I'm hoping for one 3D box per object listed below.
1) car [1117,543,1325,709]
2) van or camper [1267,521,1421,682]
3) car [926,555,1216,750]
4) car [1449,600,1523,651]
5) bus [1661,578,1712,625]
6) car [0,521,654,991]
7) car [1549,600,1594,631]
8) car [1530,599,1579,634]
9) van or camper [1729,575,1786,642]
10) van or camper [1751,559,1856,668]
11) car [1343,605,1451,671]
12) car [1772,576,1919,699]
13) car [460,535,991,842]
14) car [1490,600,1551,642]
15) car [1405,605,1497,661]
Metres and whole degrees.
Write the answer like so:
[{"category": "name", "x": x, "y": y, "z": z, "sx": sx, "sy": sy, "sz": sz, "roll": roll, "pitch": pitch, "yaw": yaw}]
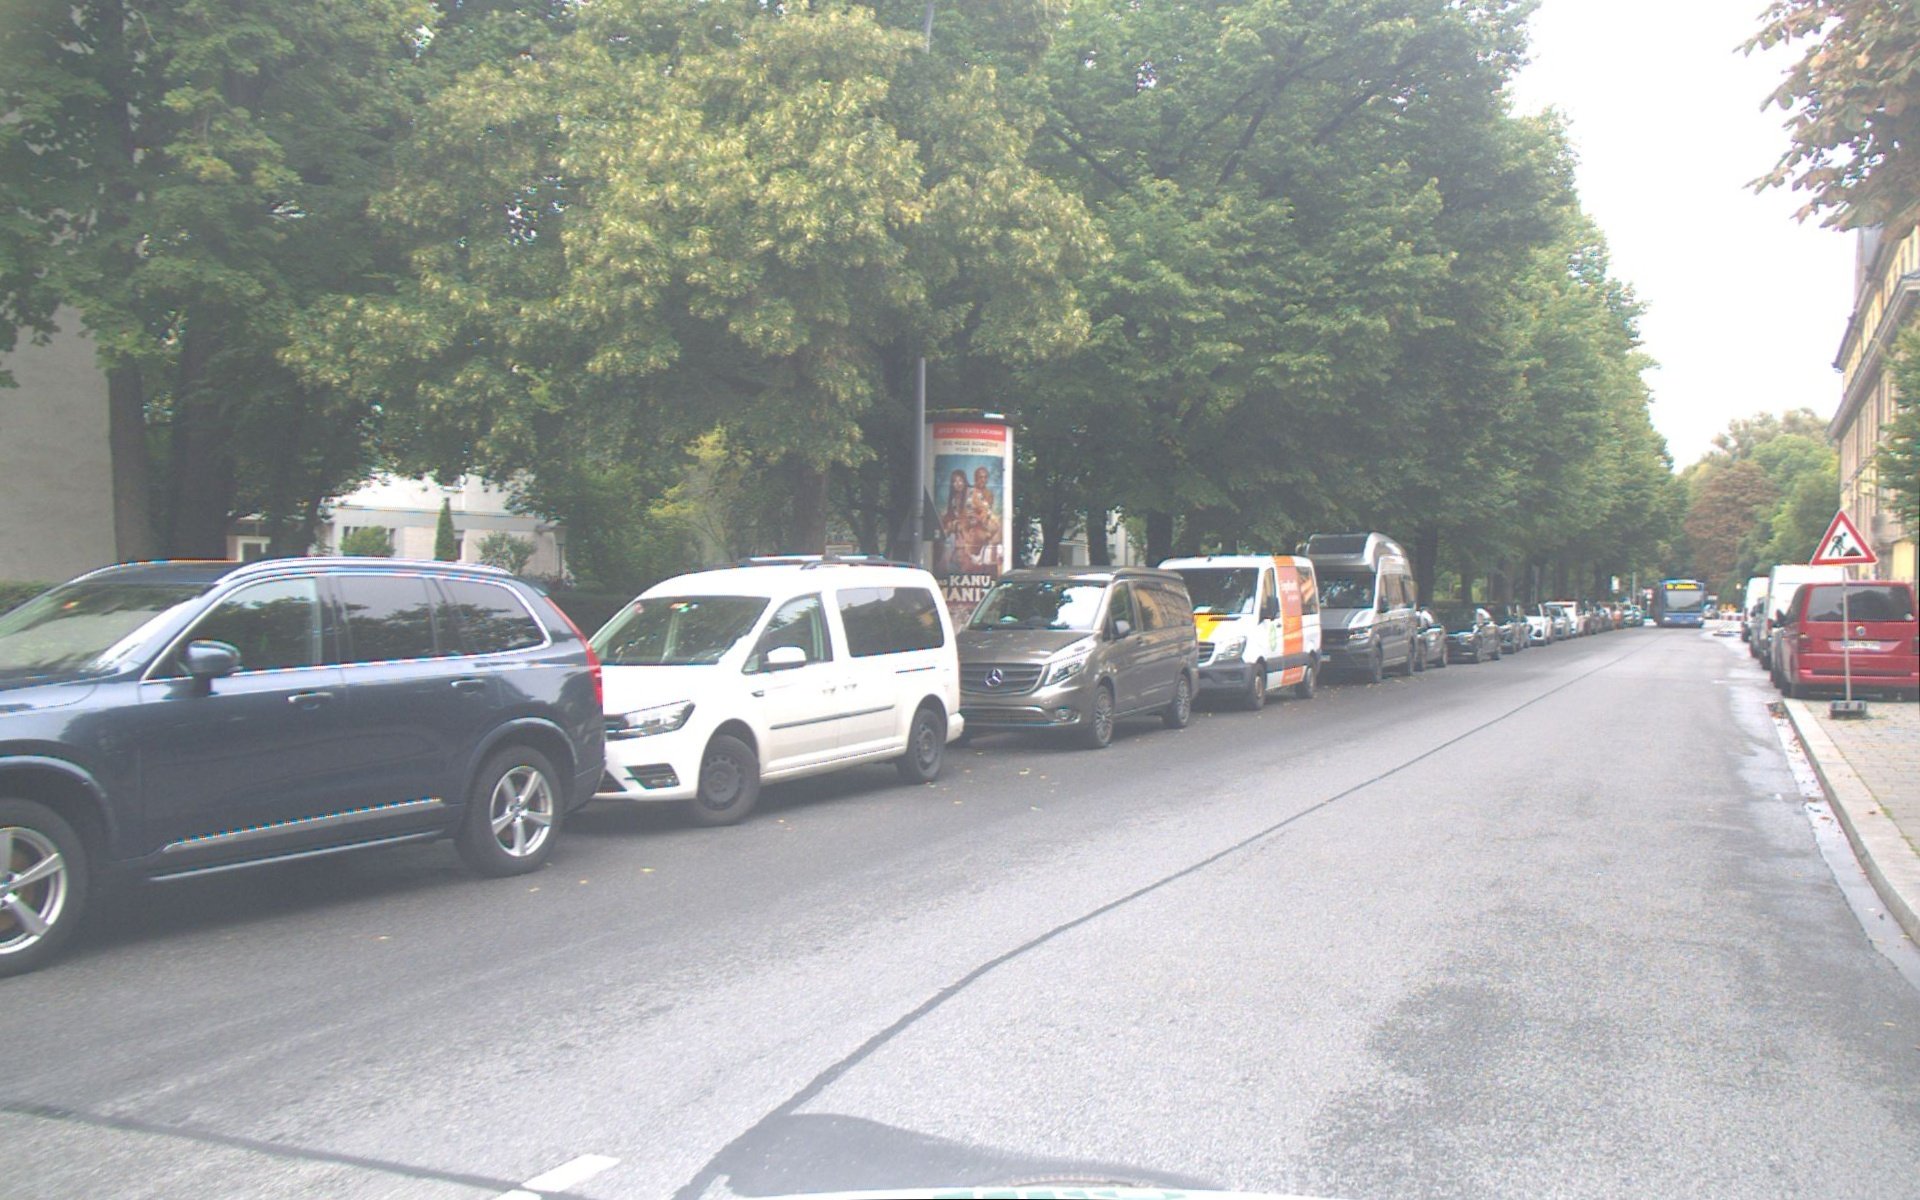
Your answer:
[{"category": "car", "x": 4.202, "y": 0.368, "z": 25.827, "sx": 1.907, "sy": 2.312, "sz": 5.240, "roll": 0, "pitch": 0, "yaw": 24}, {"category": "van or camper", "x": 7.990, "y": 0.033, "z": 33.931, "sx": 1.961, "sy": 2.996, "sz": 6.007, "roll": 0, "pitch": 0, "yaw": 24}, {"category": "car", "x": 1.481, "y": 0.537, "z": 19.390, "sx": 1.849, "sy": 1.967, "sz": 5.207, "roll": 0, "pitch": 0, "yaw": 22}, {"category": "car", "x": 16.626, "y": 0.765, "z": 52.148, "sx": 1.815, "sy": 1.499, "sz": 3.998, "roll": 1, "pitch": 0, "yaw": 23}, {"category": "bus", "x": 49.211, "y": 0.093, "z": 111.811, "sx": 2.660, "sy": 2.950, "sz": 14.541, "roll": 1, "pitch": 0, "yaw": 26}, {"category": "car", "x": -3.840, "y": 0.613, "z": 8.378, "sx": 1.955, "sy": 1.823, "sz": 4.908, "roll": 0, "pitch": 0, "yaw": 27}, {"category": "car", "x": 30.626, "y": 0.744, "z": 82.817, "sx": 1.815, "sy": 1.499, "sz": 3.998, "roll": 1, "pitch": 0, "yaw": 24}, {"category": "car", "x": 27.589, "y": 0.744, "z": 76.680, "sx": 1.815, "sy": 1.591, "sz": 3.998, "roll": 1, "pitch": 0, "yaw": 24}, {"category": "van or camper", "x": 34.341, "y": 0.352, "z": 71.292, "sx": 2.073, "sy": 2.780, "sz": 5.240, "roll": 0, "pitch": 0, "yaw": 25}, {"category": "van or camper", "x": 21.345, "y": 0.338, "z": 42.045, "sx": 2.089, "sy": 2.590, "sz": 5.240, "roll": 0, "pitch": 0, "yaw": 24}, {"category": "car", "x": 10.448, "y": 0.867, "z": 39.378, "sx": 1.837, "sy": 1.441, "sz": 3.998, "roll": 1, "pitch": 0, "yaw": 24}, {"category": "car", "x": 14.863, "y": 0.582, "z": 27.811, "sx": 1.951, "sy": 1.871, "sz": 4.711, "roll": 0, "pitch": 0, "yaw": 24}, {"category": "car", "x": -1.574, "y": 0.570, "z": 13.102, "sx": 1.793, "sy": 1.952, "sz": 4.845, "roll": 0, "pitch": 0, "yaw": 26}, {"category": "car", "x": 21.118, "y": 0.752, "z": 62.247, "sx": 1.815, "sy": 1.499, "sz": 3.998, "roll": 1, "pitch": 0, "yaw": 24}, {"category": "car", "x": 13.171, "y": 0.843, "z": 44.225, "sx": 1.837, "sy": 1.371, "sz": 3.998, "roll": 1, "pitch": 0, "yaw": 24}]
